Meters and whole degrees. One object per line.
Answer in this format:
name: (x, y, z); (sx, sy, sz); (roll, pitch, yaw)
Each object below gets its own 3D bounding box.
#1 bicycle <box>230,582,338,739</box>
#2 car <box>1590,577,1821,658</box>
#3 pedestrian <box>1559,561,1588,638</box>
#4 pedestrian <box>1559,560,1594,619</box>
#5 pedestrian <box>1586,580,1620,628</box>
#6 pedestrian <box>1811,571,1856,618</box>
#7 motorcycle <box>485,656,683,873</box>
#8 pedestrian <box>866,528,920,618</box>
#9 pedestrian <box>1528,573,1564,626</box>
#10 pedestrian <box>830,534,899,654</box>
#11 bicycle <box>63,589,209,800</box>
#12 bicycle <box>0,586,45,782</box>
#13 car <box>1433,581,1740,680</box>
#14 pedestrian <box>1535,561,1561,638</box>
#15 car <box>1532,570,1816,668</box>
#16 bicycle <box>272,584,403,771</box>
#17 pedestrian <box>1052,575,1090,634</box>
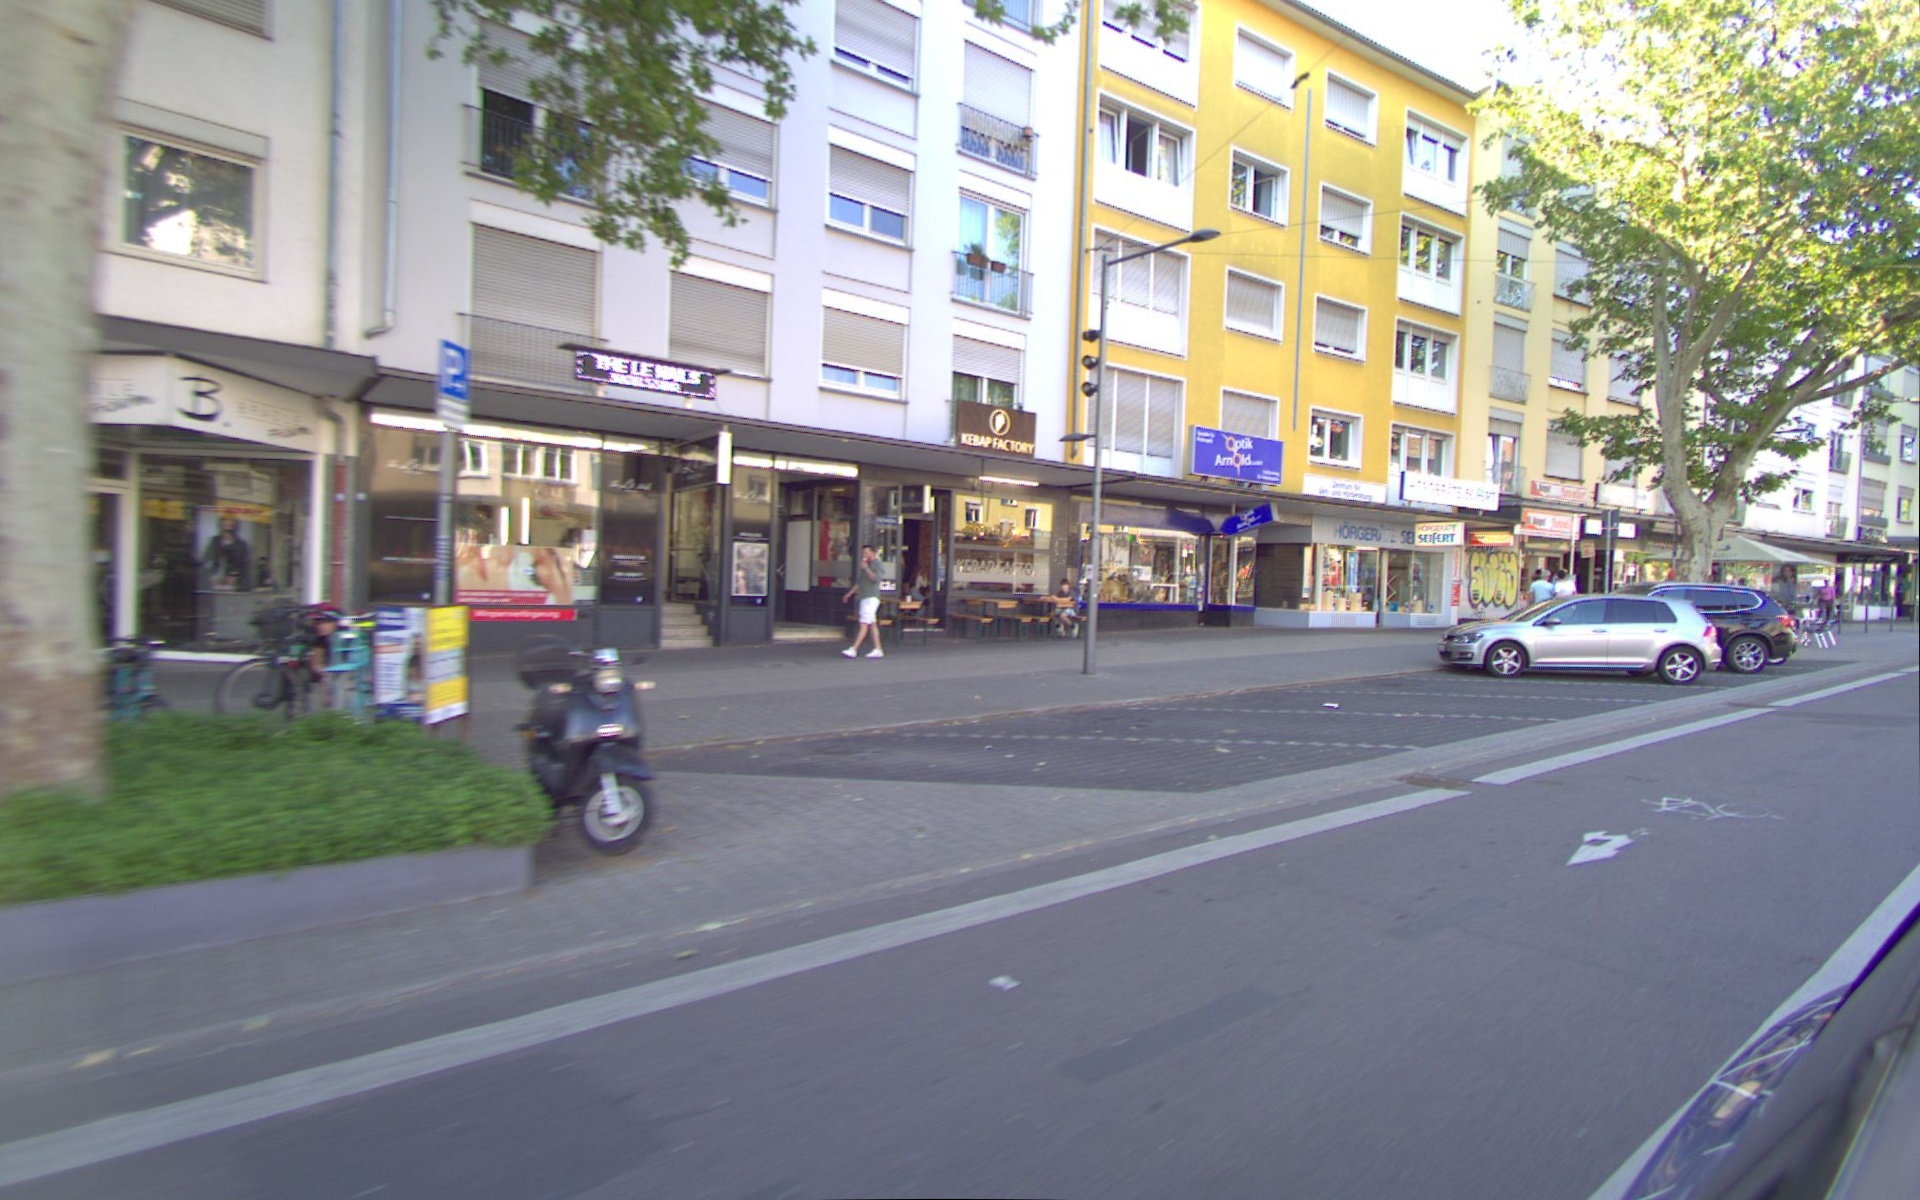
bicycle: (-5.985, 0.476, 9.034); (0.664, 1.168, 1.773); (0, 3, -29)
car: (15.964, 0.328, 21.868); (3.552, 1.559, 1.736); (2, 2, 11)
pedestrian: (14.898, -0.023, 24.584); (0.512, 1.855, 0.471); (2, 2, 25)
pedestrian: (19.107, -0.333, 31.393); (0.614, 1.826, 0.638); (1, 2, -3)
pedestrian: (17.708, 0.103, 27.864); (0.745, 1.291, 0.584); (0, 0, -38)
pedestrian: (34.338, -0.223, 39.797); (1.111, 1.784, 0.972); (-1, 3, -31)
motorcycle: (-2.173, 0.851, 5.733); (0.535, 0.903, 1.573); (0, 3, -41)
pedestrian: (-1.448, -0.587, 21.844); (0.725, 1.900, 0.912); (0, 2, -42)
pedestrian: (18.271, -0.019, 31.562); (0.624, 1.564, 0.628); (1, 5, -8)
pedestrian: (-1.522, -0.106, 16.072); (0.772, 1.812, 0.710); (0, 5, -33)
bicycle: (-5.909, 0.586, 7.222); (0.661, 1.203, 1.788); (-1, 5, -44)
bicycle: (-6.609, 0.583, 6.489); (0.697, 1.203, 1.886); (0, 5, -30)
car: (10.666, 0.460, 17.584); (4.116, 1.469, 1.802); (2, 2, 14)
pedestrian: (14.514, -0.025, 24.989); (0.513, 1.855, 0.470); (2, 2, 30)
car: (13.806, 0.303, 19.822); (4.086, 1.701, 1.804); (2, 2, 12)
bicycle: (-5.134, 0.540, 8.319); (0.815, 1.248, 2.089); (0, 3, -33)
pedestrian: (2.262, 0.087, 20.590); (0.613, 1.171, 0.419); (0, 2, -35)
